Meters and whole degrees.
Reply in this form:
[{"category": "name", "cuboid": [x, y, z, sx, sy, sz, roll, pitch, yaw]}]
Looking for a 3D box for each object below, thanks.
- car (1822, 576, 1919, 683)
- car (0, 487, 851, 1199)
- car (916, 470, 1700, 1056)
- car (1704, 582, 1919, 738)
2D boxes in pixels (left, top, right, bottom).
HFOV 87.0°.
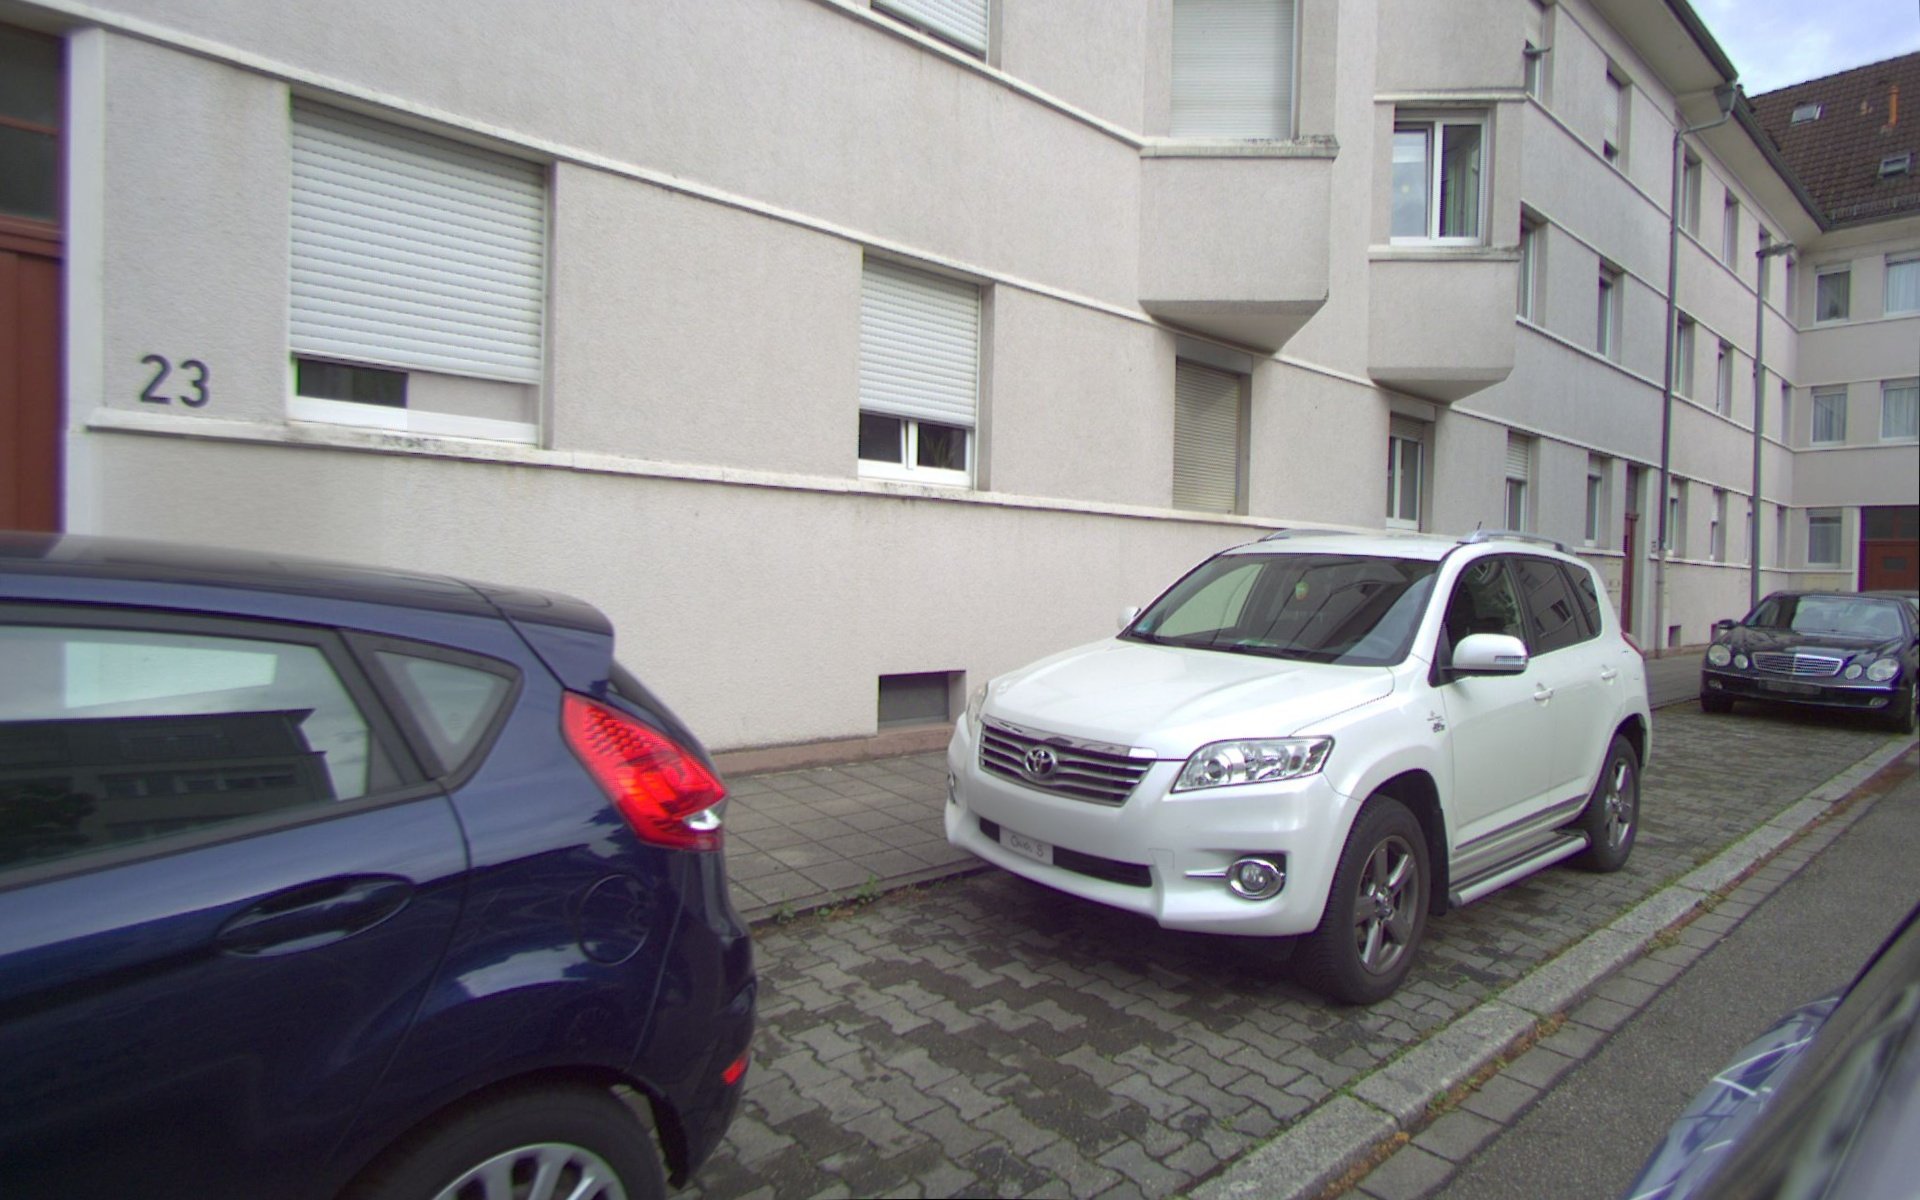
[{"category": "car", "cuboid": [15.520, 0.439, 16.424, 4.009, 1.544, 1.760, 0, 3, -42]}, {"category": "car", "cuboid": [-2.178, 0.586, 1.326, 3.801, 1.496, 1.571, 0, 2, -40]}, {"category": "car", "cuboid": [2.003, 0.424, 5.025, 4.216, 1.694, 1.846, 0, 3, -42]}, {"category": "car", "cuboid": [10.514, 0.568, 11.987, 4.864, 1.438, 1.748, 0, 2, -42]}]
